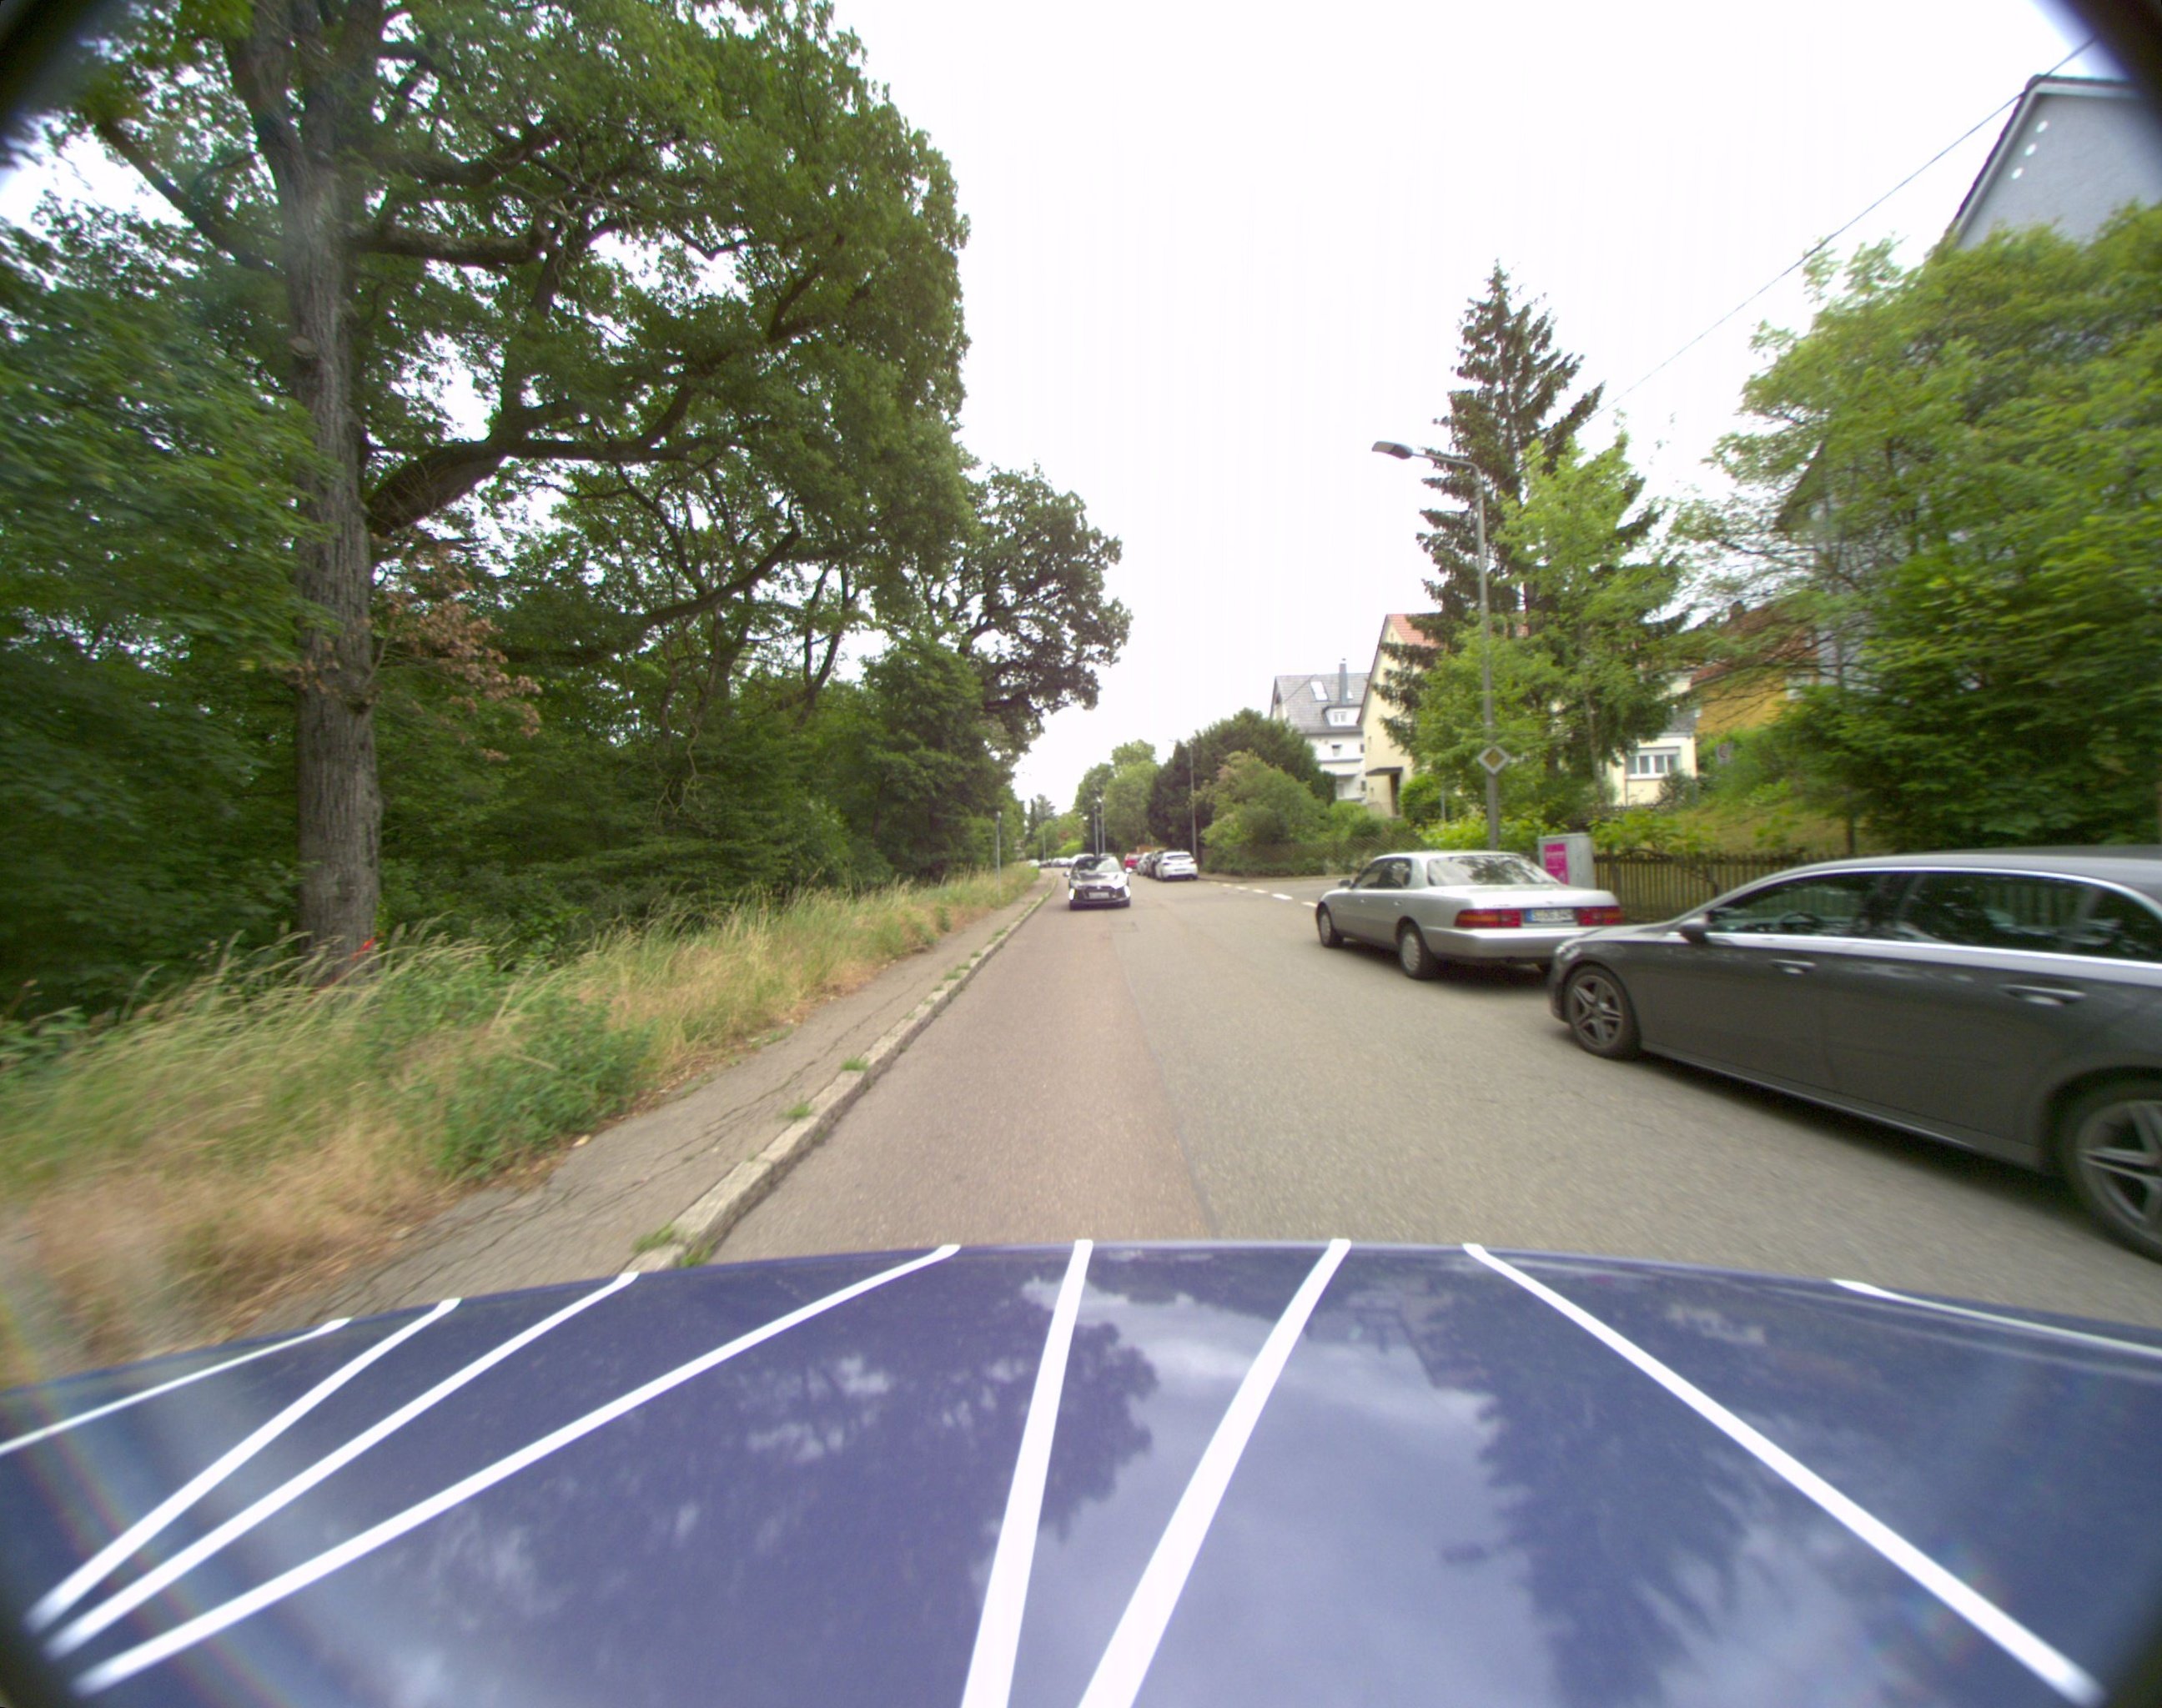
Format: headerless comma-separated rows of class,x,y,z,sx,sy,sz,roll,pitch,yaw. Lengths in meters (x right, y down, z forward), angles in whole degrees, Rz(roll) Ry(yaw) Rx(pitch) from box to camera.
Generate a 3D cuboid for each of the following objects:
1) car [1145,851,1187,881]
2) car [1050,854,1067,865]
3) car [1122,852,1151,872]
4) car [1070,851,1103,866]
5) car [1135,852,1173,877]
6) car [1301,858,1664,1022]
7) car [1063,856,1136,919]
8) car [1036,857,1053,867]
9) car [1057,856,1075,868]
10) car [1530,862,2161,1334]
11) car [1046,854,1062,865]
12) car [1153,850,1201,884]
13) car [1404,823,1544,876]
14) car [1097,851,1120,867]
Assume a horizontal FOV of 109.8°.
car,4.692,0.631,42.592,1.788,1.491,4.014,-3,0,-1
car,-3.667,0.951,124.739,2.000,1.678,4.706,-3,0,-10
car,4.257,0.612,58.460,1.741,1.431,3.786,-3,0,-2
car,0.706,0.563,96.908,1.995,1.678,4.719,-3,0,30
car,4.583,0.621,48.307,1.788,1.431,4.323,-3,0,-2
car,4.438,0.811,9.496,1.853,1.431,4.909,-1,0,-1
car,0.451,0.856,21.342,1.788,1.491,4.014,-3,0,-1
car,-6.794,1.494,142.047,2.001,1.678,4.704,-3,0,-17
car,-2.253,1.190,116.536,2.000,1.678,4.707,-3,0,-10
car,4.377,0.831,3.663,1.739,1.431,4.261,-3,0,-2
car,-4.606,0.912,130.320,2.000,1.678,4.706,-3,0,-10
car,4.754,0.616,38.090,1.788,1.491,4.014,-3,0,-1
car,13.950,-0.145,27.178,3.996,1.474,1.722,-5,-1,5
car,2.799,0.510,78.008,1.765,1.441,4.041,-3,0,-6
